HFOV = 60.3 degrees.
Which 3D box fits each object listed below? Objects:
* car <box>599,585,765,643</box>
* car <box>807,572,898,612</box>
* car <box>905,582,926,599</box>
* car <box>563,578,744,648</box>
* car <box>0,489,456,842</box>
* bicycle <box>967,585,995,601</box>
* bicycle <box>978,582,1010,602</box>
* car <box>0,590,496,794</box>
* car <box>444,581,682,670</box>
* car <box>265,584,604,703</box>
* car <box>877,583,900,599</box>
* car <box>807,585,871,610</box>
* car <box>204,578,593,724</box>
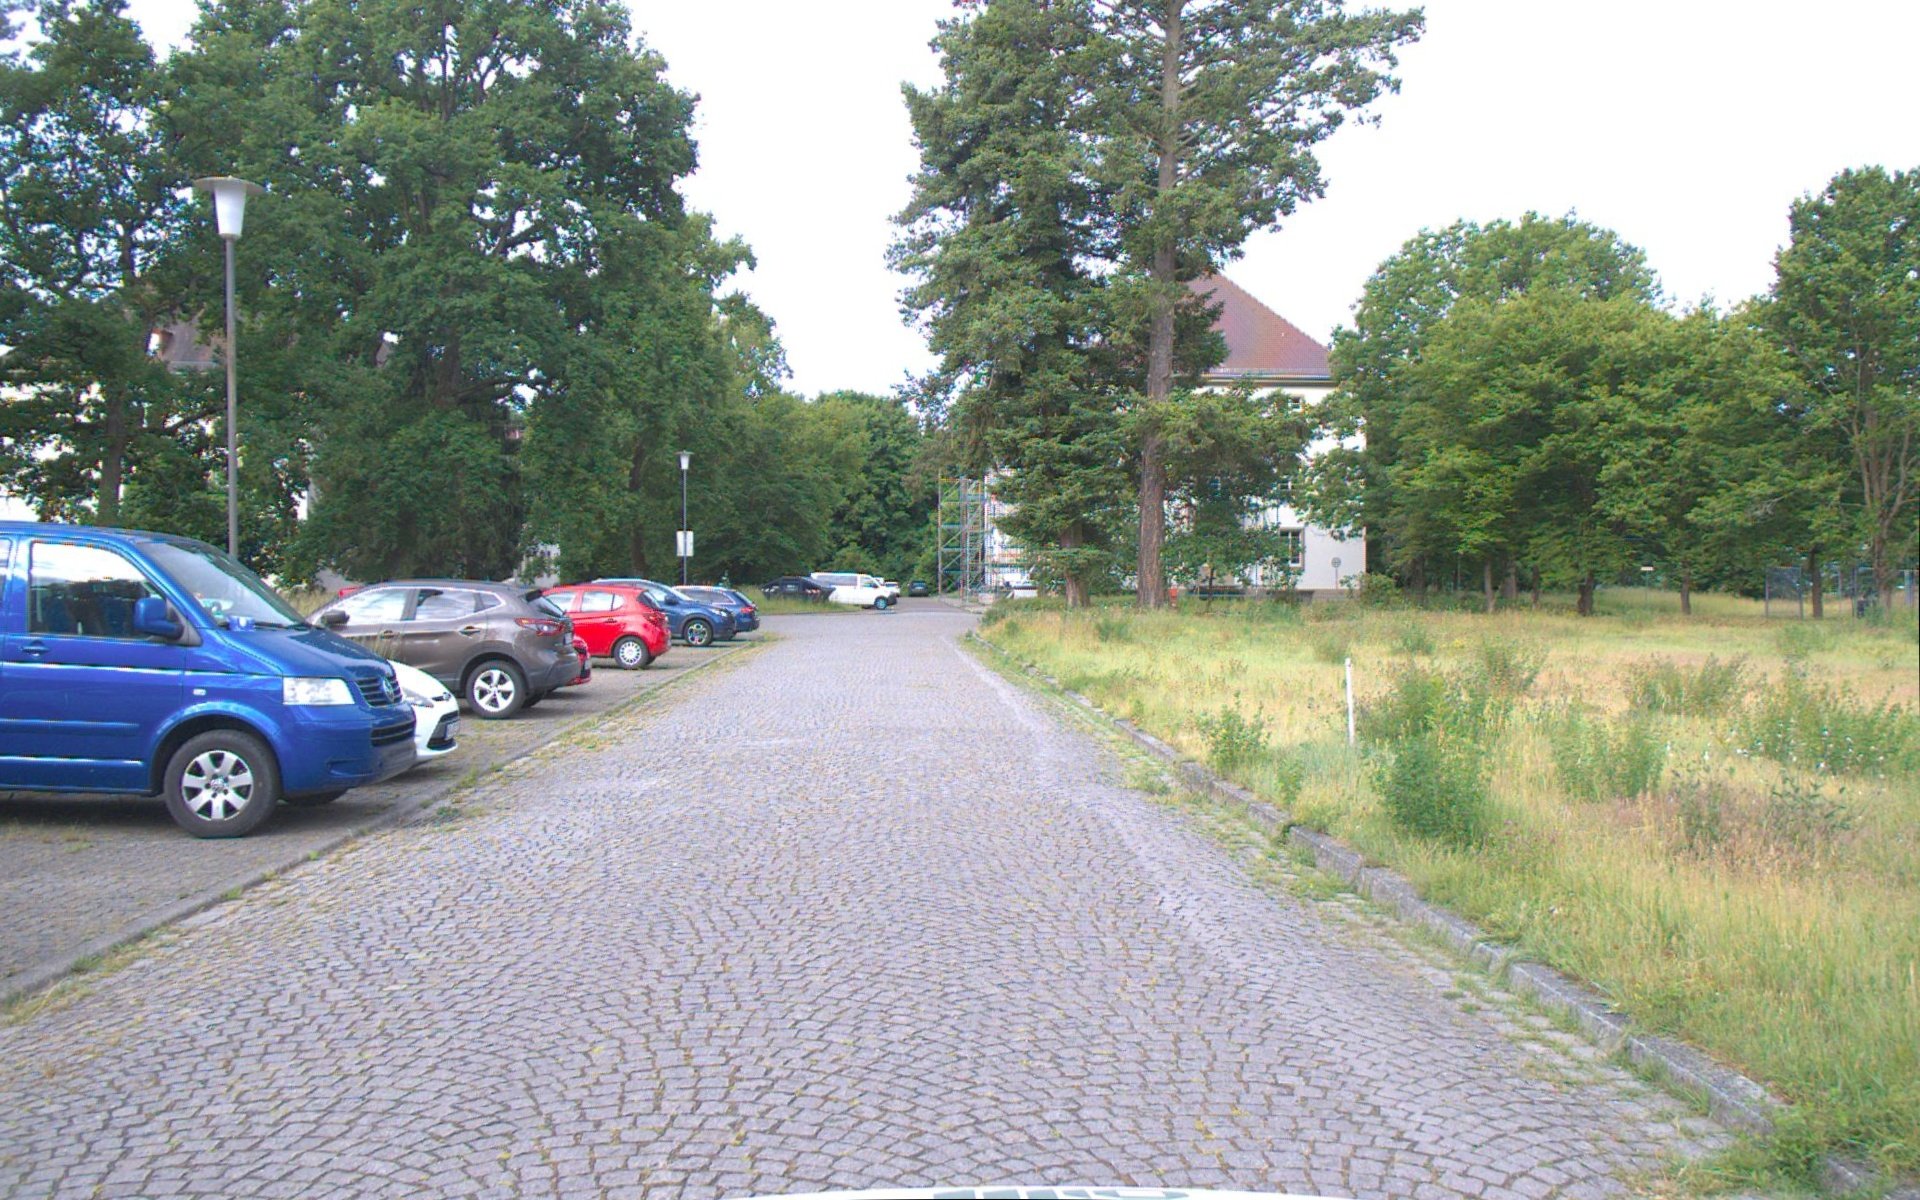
[{"bbox_3d":[-7.570,0.356,45.373,4.216,1.486,1.974,1,1,-2],"label":"car"},{"bbox_3d":[-6.138,-0.467,94.312,5.133,2.206,1.998,0,0,-5],"label":"car"},{"bbox_3d":[-4.353,-0.921,160.759,1.913,1.548,3.997,0,0,-4],"label":"car"},{"bbox_3d":[-7.482,0.304,40.691,4.145,1.604,1.886,1,1,-4],"label":"car"},{"bbox_3d":[-6.072,0.392,11.198,4.687,2.159,2.114,0,1,-4],"label":"car"},{"bbox_3d":[1.673,-0.556,132.689,2.194,1.276,0.698,0,0,-1],"label":"bicycle"},{"bbox_3d":[2.305,-0.543,111.995,2.194,1.276,0.777,0,0,-1],"label":"bicycle"},{"bbox_3d":[-6.143,0.708,13.788,4.085,1.536,1.780,0,1,-5],"label":"car"},{"bbox_3d":[-7.211,0.439,30.409,3.975,1.551,1.903,0,1,-5],"label":"car"},{"bbox_3d":[-7.125,0.561,22.776,4.084,1.536,1.906,0,1,-4],"label":"car"},{"bbox_3d":[-6.960,-0.889,160.323,2.077,1.548,3.997,0,0,-4],"label":"car"},{"bbox_3d":[-7.103,-0.168,96.857,3.715,1.420,1.998,0,0,-6],"label":"car"},{"bbox_3d":[-6.666,0.565,20.057,4.085,1.650,1.984,0,1,-6],"label":"car"}]
